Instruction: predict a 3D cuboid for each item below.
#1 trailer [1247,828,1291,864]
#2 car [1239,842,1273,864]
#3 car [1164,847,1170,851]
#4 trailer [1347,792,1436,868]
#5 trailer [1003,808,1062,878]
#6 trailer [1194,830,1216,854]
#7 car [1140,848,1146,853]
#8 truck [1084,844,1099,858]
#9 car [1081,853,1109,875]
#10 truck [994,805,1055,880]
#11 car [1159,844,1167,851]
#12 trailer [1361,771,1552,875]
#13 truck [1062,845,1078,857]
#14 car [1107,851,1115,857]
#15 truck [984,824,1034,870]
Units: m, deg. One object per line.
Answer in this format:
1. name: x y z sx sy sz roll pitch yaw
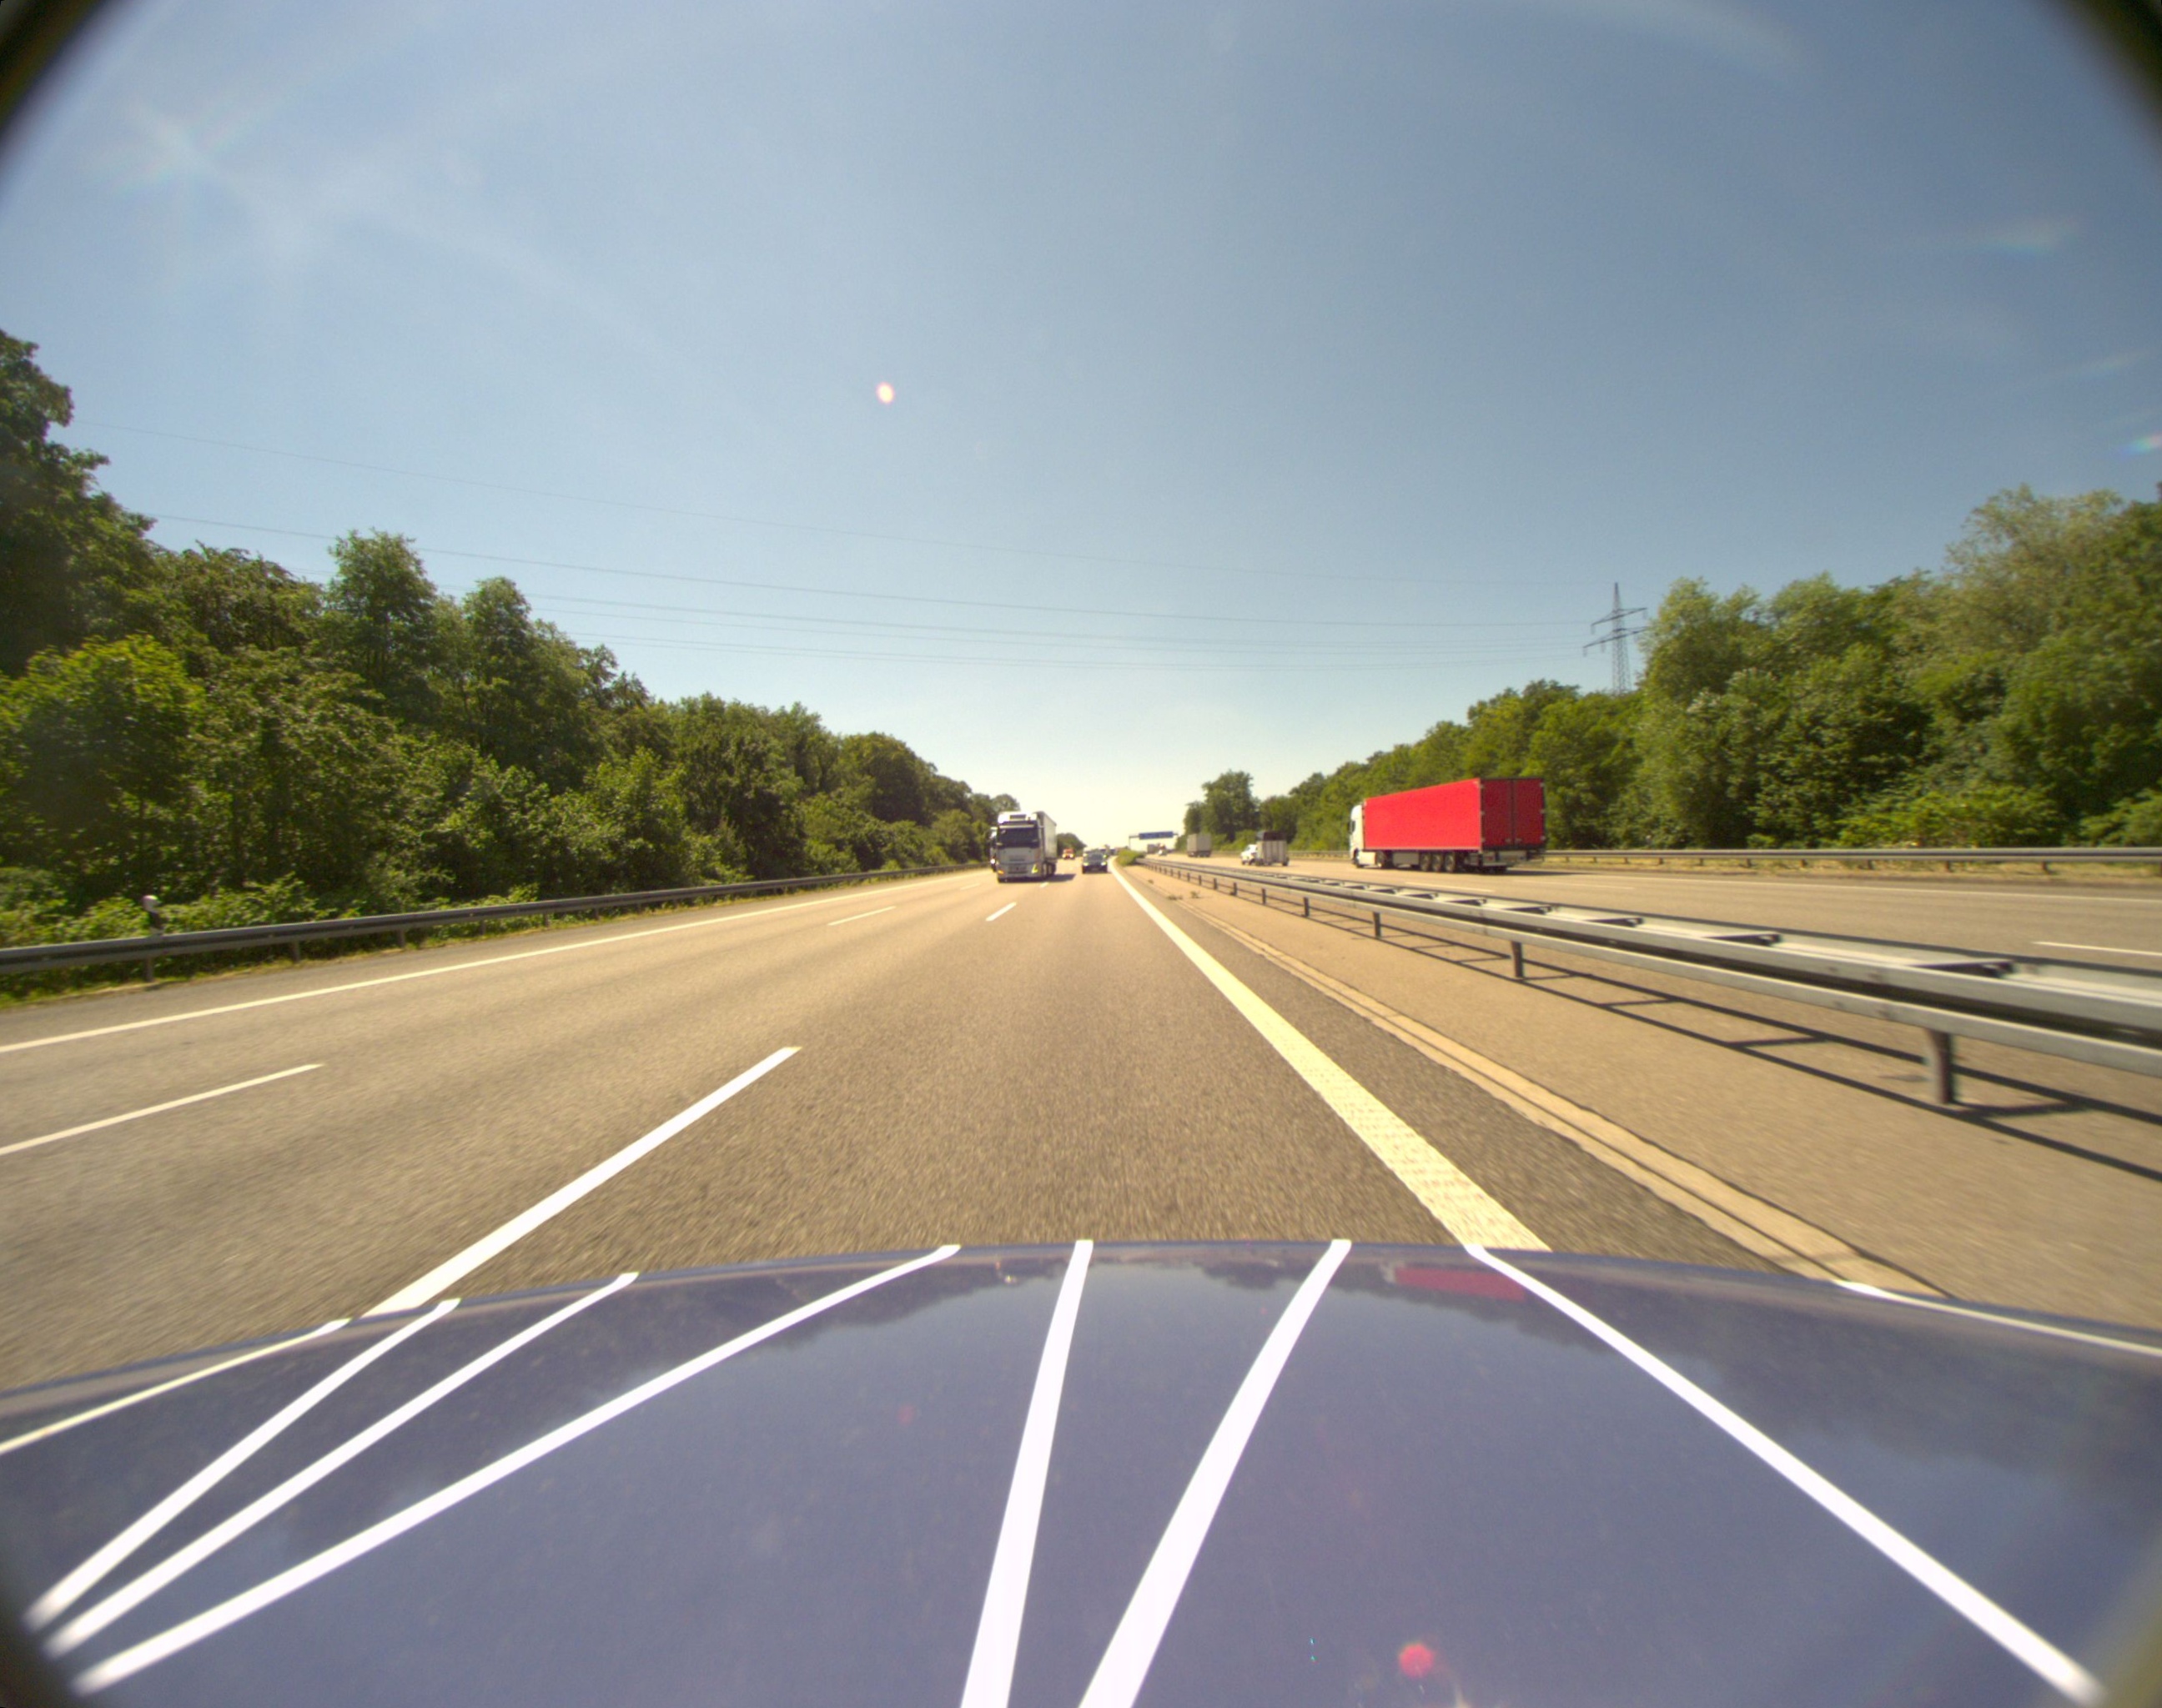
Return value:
1. trailer: 14.147 -0.595 57.451 2.091 2.598 4.955 -2 1 0
2. car: 14.214 -0.099 61.978 1.840 1.622 4.019 -2 0 0
3. car: 29.507 -1.777 261.633 1.725 1.471 4.000 -2 0 2
4. trailer: 17.838 -1.324 44.097 2.695 4.018 6.037 -2 1 1
5. trailer: -2.990 -0.676 51.147 2.747 3.952 13.653 -2 0 1
6. trailer: 21.689 -2.039 133.596 2.676 3.943 13.667 -2 0 5
7. car: 17.072 -1.019 208.801 1.669 1.445 4.124 -2 0 3
8. truck: 2.431 -0.736 178.141 2.858 3.163 10.714 -2 0 3
9. car: 0.983 0.631 52.556 1.800 1.390 4.833 -2 0 1
10. truck: -3.127 -0.630 44.069 2.729 3.952 6.501 -2 0 2
11. car: 20.004 -1.575 186.186 1.669 1.445 4.124 -2 0 3
12. trailer: 17.667 -1.287 37.490 2.690 4.044 14.050 -2 0 1
13. truck: -2.475 -0.706 170.723 2.436 2.426 10.012 -2 0 5
14. car: 7.637 0.003 193.453 1.879 1.630 4.000 -2 0 0
15. truck: -6.919 -0.748 75.484 3.049 3.948 14.452 -2 1 2
